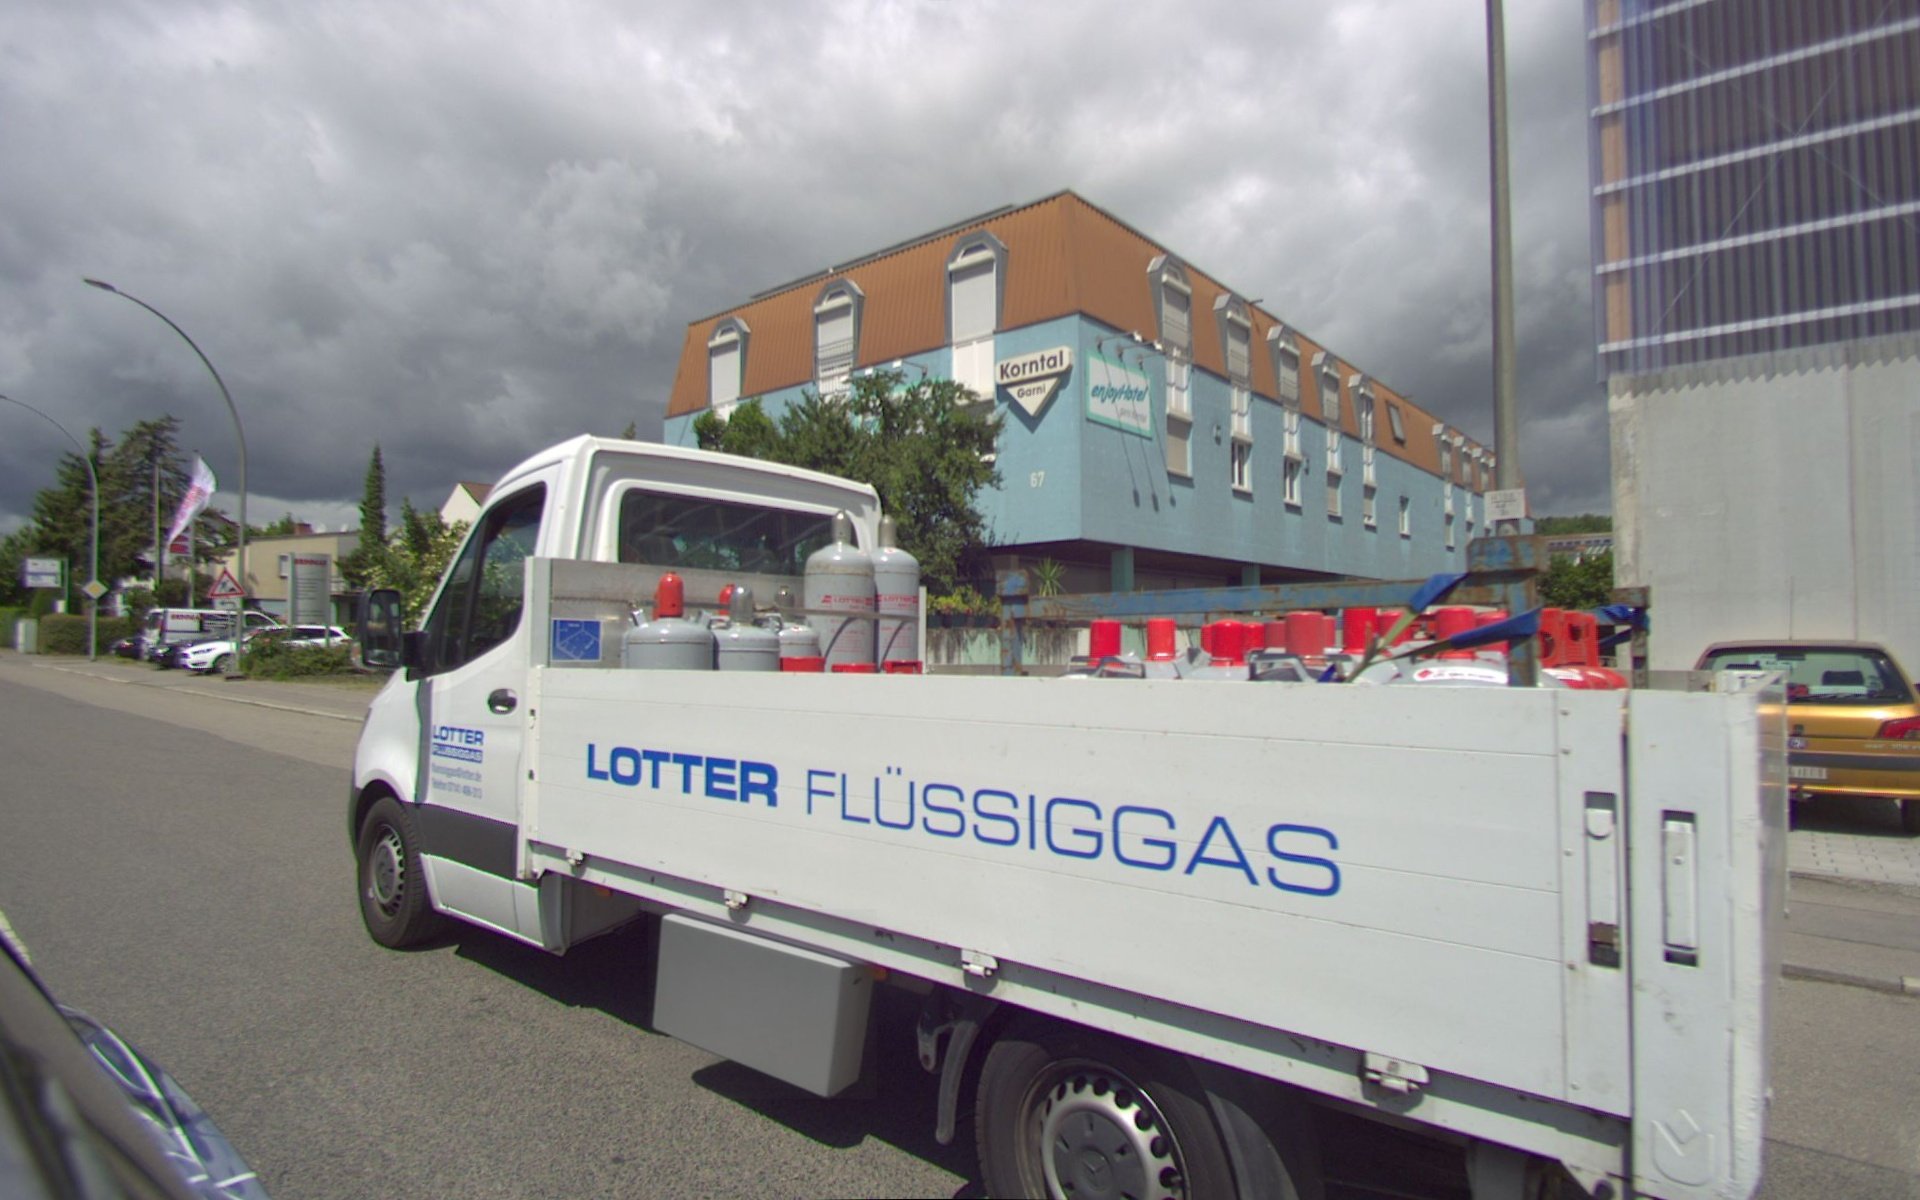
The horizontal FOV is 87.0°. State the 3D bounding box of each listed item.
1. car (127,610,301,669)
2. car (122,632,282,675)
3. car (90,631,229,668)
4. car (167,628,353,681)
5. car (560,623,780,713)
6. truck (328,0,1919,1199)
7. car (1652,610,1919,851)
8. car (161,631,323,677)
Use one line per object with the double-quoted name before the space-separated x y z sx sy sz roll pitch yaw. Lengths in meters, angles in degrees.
"car" -26.767 1.396 36.456 2.112 1.987 4.608 -2 -3 37
"car" -25.239 1.727 33.792 1.869 1.325 3.948 -1 -2 39
"car" -31.298 1.906 39.666 1.869 1.213 3.948 -2 0 39
"car" -21.307 1.604 30.944 1.870 1.489 4.329 0 -1 40
"car" -5.514 1.234 19.497 1.979 1.544 3.588 -2 -2 42
"truck" 0.158 0.398 3.494 6.448 2.195 2.294 -2 -4 43
"car" 7.237 0.914 8.790 1.822 1.503 4.112 -2 0 37
"car" -23.003 1.699 32.510 1.871 1.365 3.943 -2 -3 42
